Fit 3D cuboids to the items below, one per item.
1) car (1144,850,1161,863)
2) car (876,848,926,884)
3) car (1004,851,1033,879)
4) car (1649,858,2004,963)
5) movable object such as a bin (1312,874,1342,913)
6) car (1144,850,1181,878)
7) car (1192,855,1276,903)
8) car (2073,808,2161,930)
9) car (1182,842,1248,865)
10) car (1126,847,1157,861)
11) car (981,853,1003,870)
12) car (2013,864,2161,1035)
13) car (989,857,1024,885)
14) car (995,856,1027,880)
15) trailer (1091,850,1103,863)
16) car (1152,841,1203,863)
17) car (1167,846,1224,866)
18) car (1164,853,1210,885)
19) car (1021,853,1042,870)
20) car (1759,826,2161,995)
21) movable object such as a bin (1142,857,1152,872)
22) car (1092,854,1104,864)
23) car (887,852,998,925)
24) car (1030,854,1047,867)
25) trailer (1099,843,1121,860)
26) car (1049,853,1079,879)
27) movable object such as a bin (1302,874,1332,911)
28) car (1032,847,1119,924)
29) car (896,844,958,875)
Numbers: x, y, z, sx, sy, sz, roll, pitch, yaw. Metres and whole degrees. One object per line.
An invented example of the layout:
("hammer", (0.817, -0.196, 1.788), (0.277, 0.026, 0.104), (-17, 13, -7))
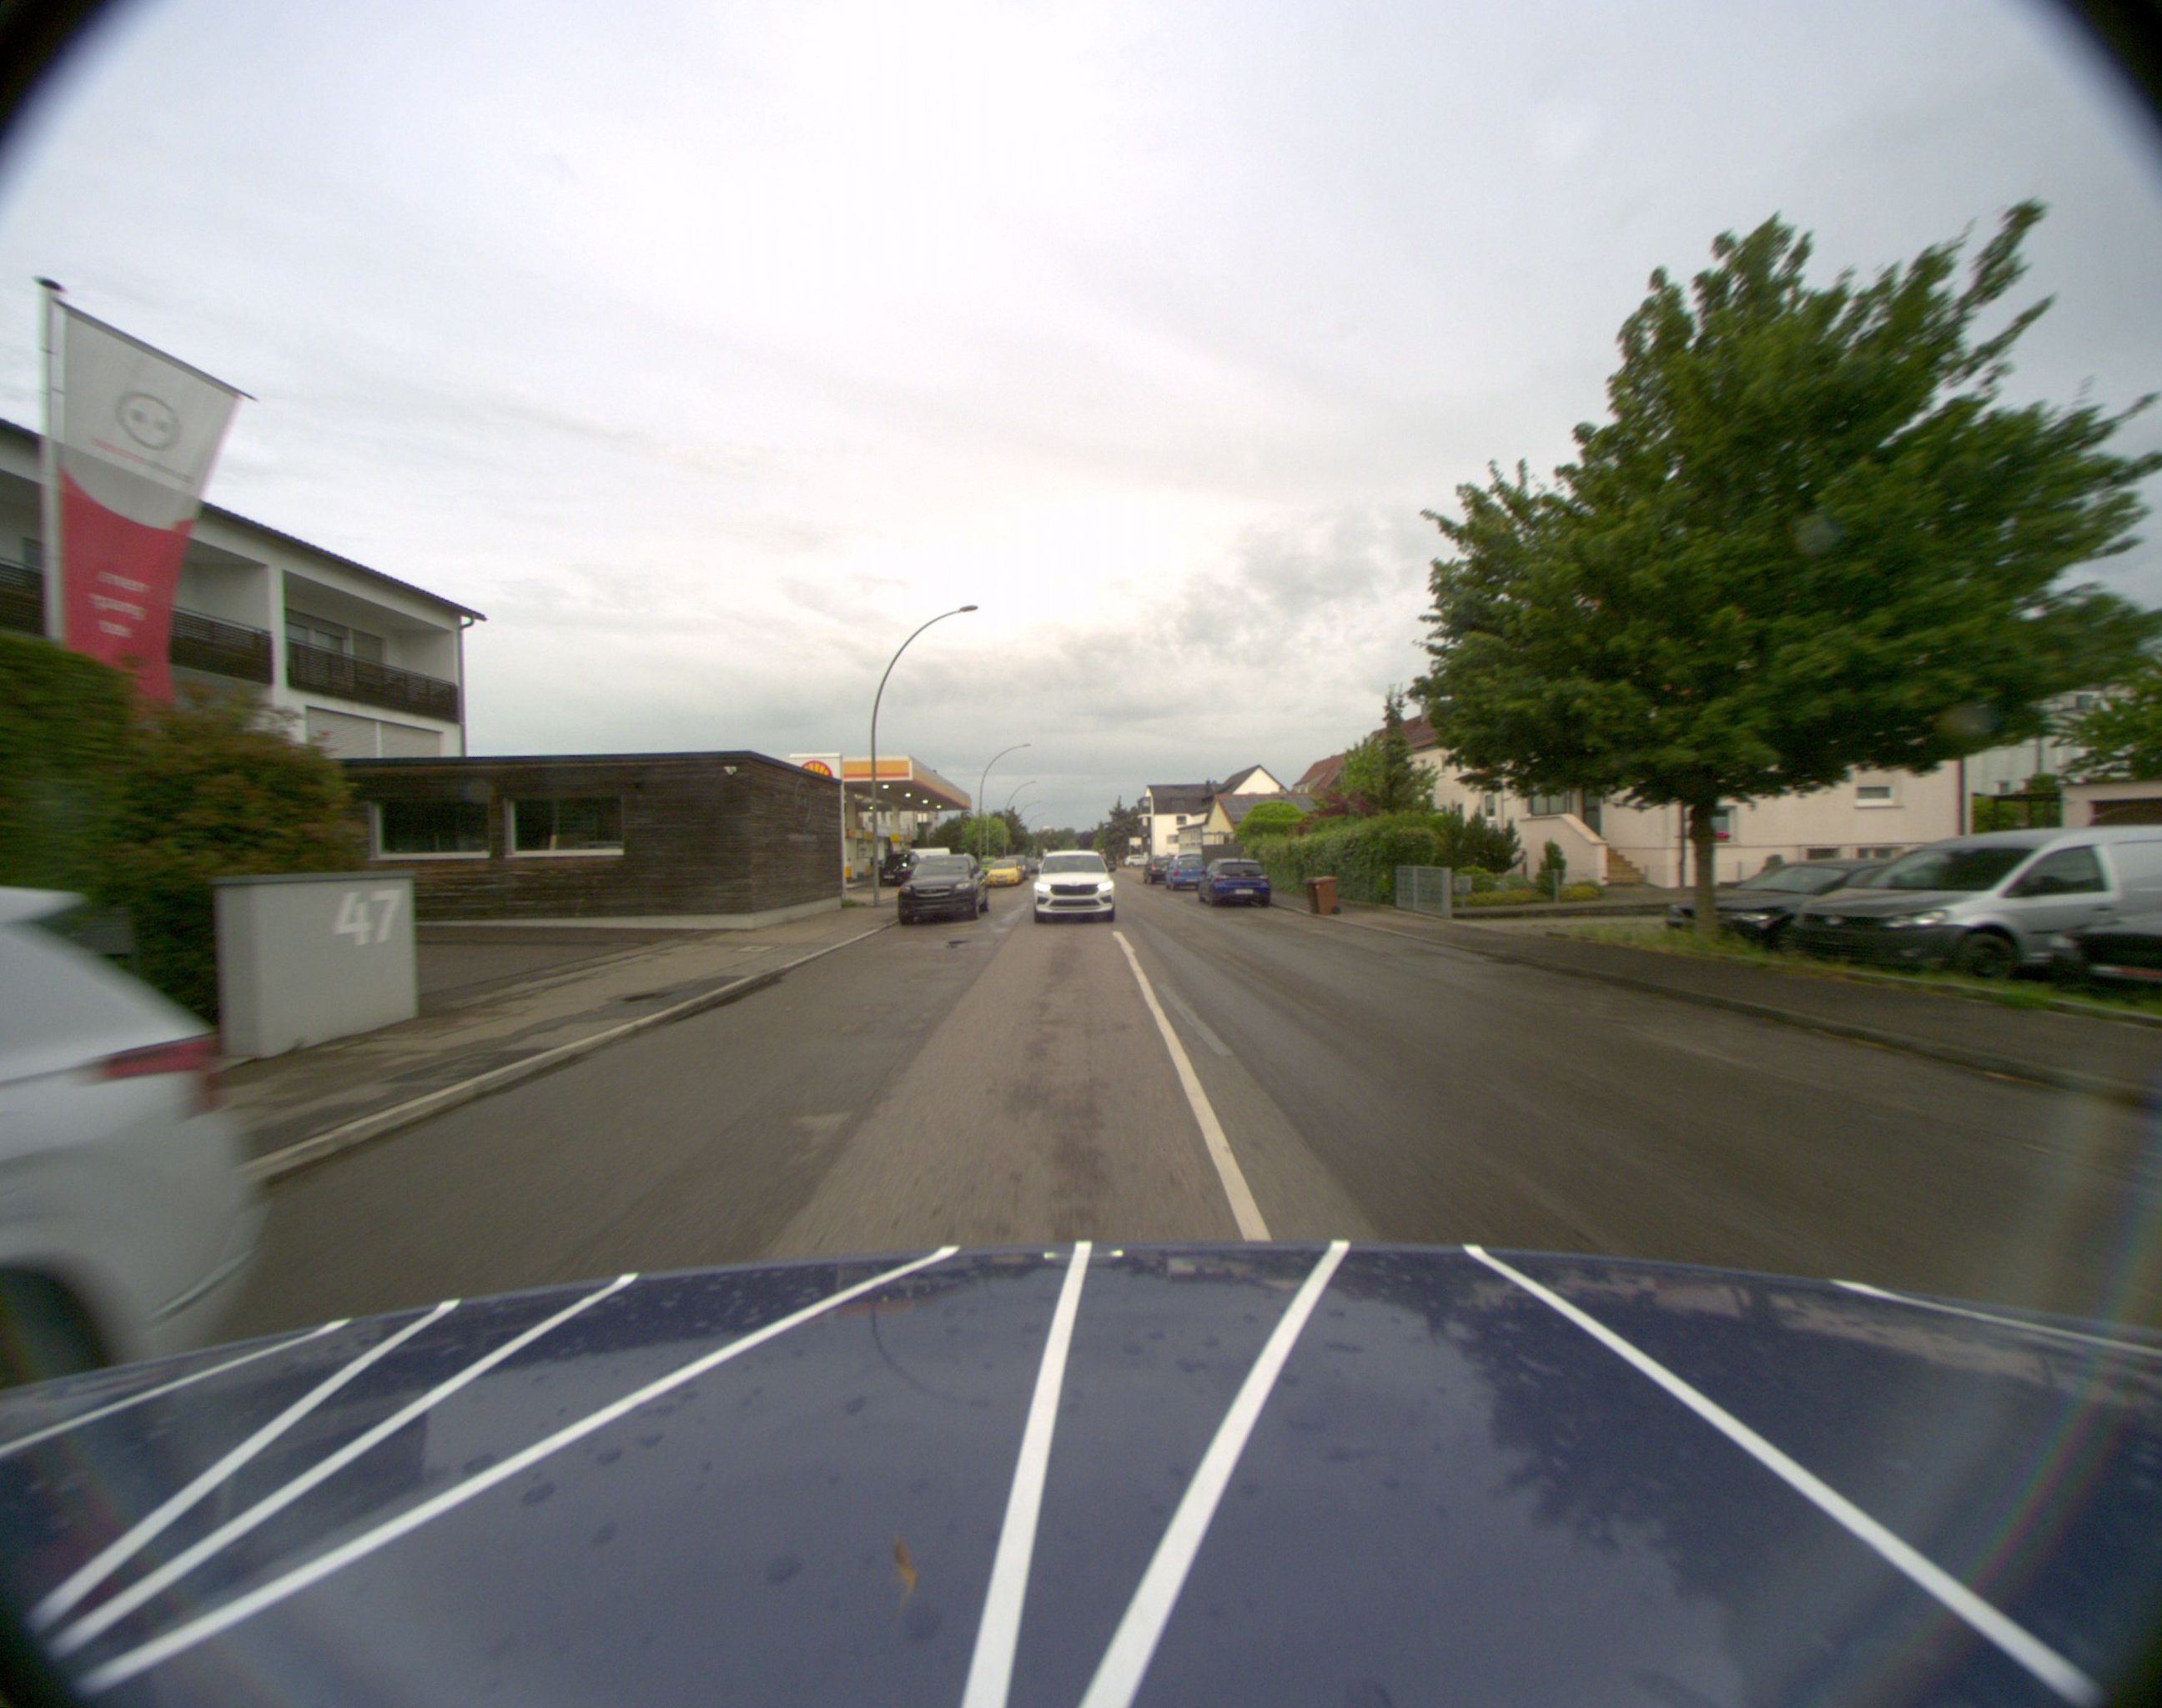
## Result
("car", (9.691, 0.275, 103.033), (1.824, 1.521, 4.000), (-7, 0, 1))
("car", (-9.261, 0.595, 39.361), (1.825, 1.749, 3.998), (0, 0, -4))
("car", (-4.338, 0.731, 53.246), (1.660, 1.728, 4.443), (-4, 0, -2))
("car", (11.226, 0.784, 11.605), (3.923, 1.364, 1.760), (-1, 1, -5))
("movable object such as a bin", (6.131, 0.985, 18.950), (0.541, 0.905, 0.424), (-4, 1, -2))
("car", (4.483, 0.543, 42.361), (1.613, 1.497, 3.706), (0, 0, -1))
("car", (4.770, 0.725, 24.262), (1.811, 1.395, 3.944), (0, 0, -1))
("car", (18.084, 0.228, 10.504), (1.999, 1.919, 5.052), (-1, 0, -3))
("car", (9.046, -0.020, 51.489), (4.096, 1.405, 1.713), (-2, 0, -4))
("car", (8.608, -0.032, 107.862), (3.998, 1.637, 1.999), (-5, 0, -3))
("car", (-8.890, 0.736, 76.201), (1.999, 1.673, 3.998), (-1, 0, -6))
("car", (11.489, 0.796, 6.708), (4.571, 1.410, 1.897), (-1, 1, -5))
("car", (-4.105, 0.920, 42.386), (1.660, 1.393, 3.800), (-2, 0, -2))
("car", (-4.296, 0.838, 47.101), (1.660, 1.368, 4.024), (-2, 0, -2))
("trailer", (2.689, 0.360, 127.852), (1.722, 2.114, 4.006), (-2, 0, -1))
("car", (8.578, -0.147, 67.892), (4.096, 1.521, 2.001), (-2, -7, -7))
("car", (9.017, 0.153, 59.930), (4.096, 1.505, 1.882), (-1, 0, -5))
("car", (4.807, 0.649, 34.744), (1.550, 1.395, 3.596), (0, 0, -1))
("car", (-4.784, 0.737, 73.922), (1.999, 1.586, 3.999), (-1, 0, -2))
("car", (11.366, 0.583, 9.356), (4.571, 1.780, 1.897), (-1, 1, -5))
("movable object such as a bin", (4.994, 0.772, 57.459), (0.597, 1.051, 0.687), (-6, -1, -1))
("car", (2.730, 0.798, 121.321), (1.740, 1.496, 3.870), (-1, 0, -1))
("car", (-3.566, 0.857, 20.460), (2.096, 1.652, 4.559), (-3, -1, 0))
("car", (-5.092, 0.760, 90.833), (1.742, 1.493, 3.881), (-3, 0, 0))
("trailer", (5.506, -0.513, 143.632), (4.059, 3.029, 2.168), (-2, 1, 0))
("car", (-1.090, 0.756, 48.798), (1.778, 1.552, 3.999), (-2, 0, -2))
("movable object such as a bin", (6.025, 0.977, 19.423), (0.541, 0.905, 0.505), (-4, 1, -2))
("car", (-0.174, 0.707, 19.057), (1.884, 1.650, 4.830), (-1, 0, -1))
("car", (-13.324, 0.435, 65.659), (4.809, 2.506, 2.243), (-1, 0, -23))
